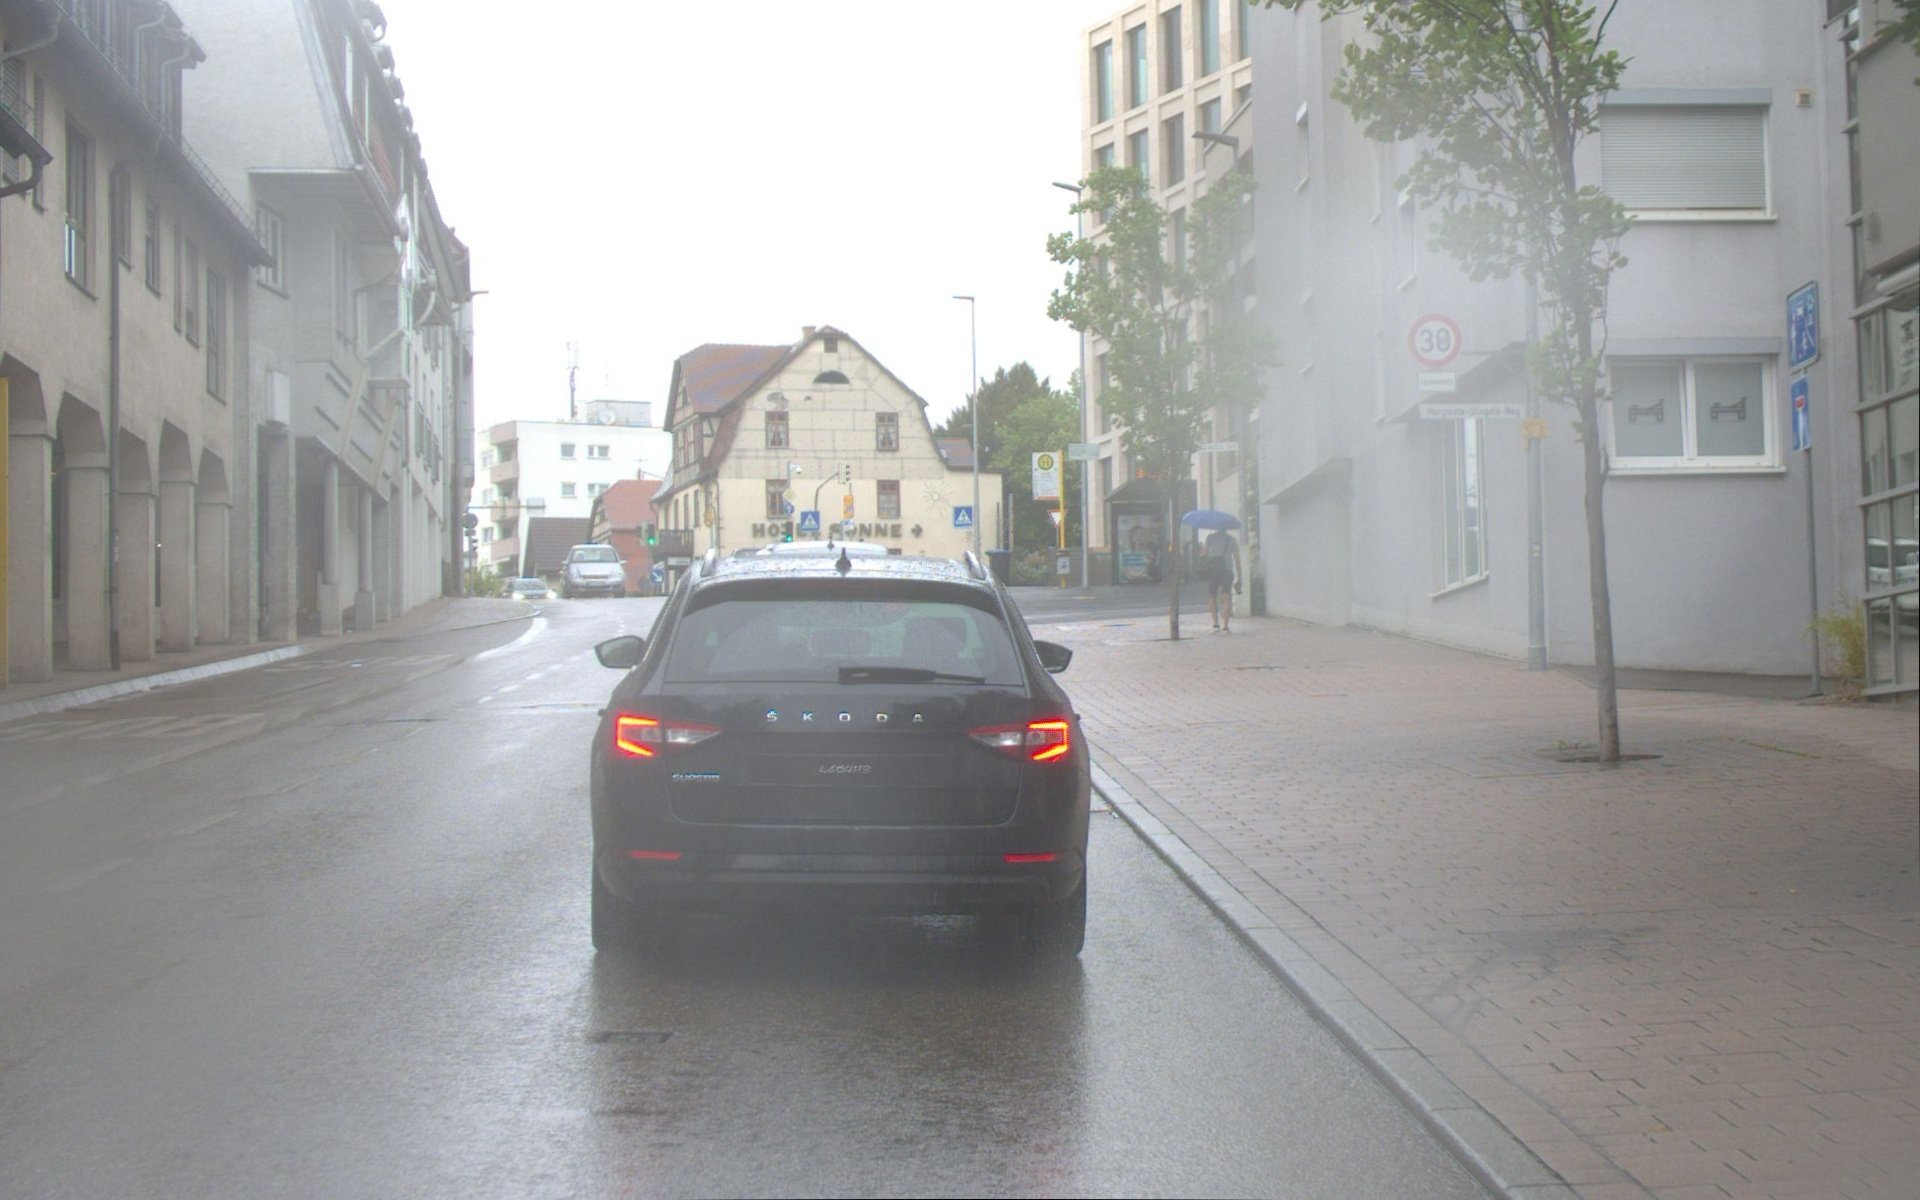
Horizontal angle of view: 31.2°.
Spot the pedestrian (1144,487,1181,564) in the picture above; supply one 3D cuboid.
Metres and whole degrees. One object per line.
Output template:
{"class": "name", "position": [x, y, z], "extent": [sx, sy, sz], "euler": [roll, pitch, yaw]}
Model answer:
{"class": "pedestrian", "position": [5.151, -1.893, 87.538], "extent": [0.782, 1.933, 1.021], "euler": [-2, 1, -3]}

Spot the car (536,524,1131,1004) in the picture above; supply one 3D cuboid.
{"class": "car", "position": [-0.448, 0.504, 13.508], "extent": [1.944, 1.561, 4.417], "euler": [0, 1, -1]}

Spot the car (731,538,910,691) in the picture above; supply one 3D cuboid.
{"class": "car", "position": [-1.512, 0.115, 36.118], "extent": [1.677, 1.505, 3.589], "euler": [-1, 1, -5]}

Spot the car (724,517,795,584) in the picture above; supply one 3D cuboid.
{"class": "car", "position": [-6.302, -1.584, 108.389], "extent": [1.993, 2.007, 4.000], "euler": [-2, 1, -1]}

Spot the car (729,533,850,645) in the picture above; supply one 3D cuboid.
{"class": "car", "position": [-2.542, -0.187, 50.997], "extent": [1.680, 1.554, 4.001], "euler": [-1, 1, -3]}

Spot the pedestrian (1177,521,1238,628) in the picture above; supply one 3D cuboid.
{"class": "pedestrian", "position": [3.657, -0.381, 50.944], "extent": [0.736, 1.537, 1.038], "euler": [-4, 1, 0]}

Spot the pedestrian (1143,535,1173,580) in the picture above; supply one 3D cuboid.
{"class": "pedestrian", "position": [5.143, -1.104, 89.174], "extent": [0.672, 1.158, 0.635], "euler": [-2, 1, -3]}

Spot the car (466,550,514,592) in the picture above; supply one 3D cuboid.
{"class": "car", "position": [-17.167, -1.061, 125.453], "extent": [1.676, 1.505, 3.590], "euler": [-1, 1, -9]}

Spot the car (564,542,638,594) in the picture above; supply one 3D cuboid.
{"class": "car", "position": [-10.695, -0.981, 102.536], "extent": [1.677, 1.505, 3.588], "euler": [-1, 1, 2]}
